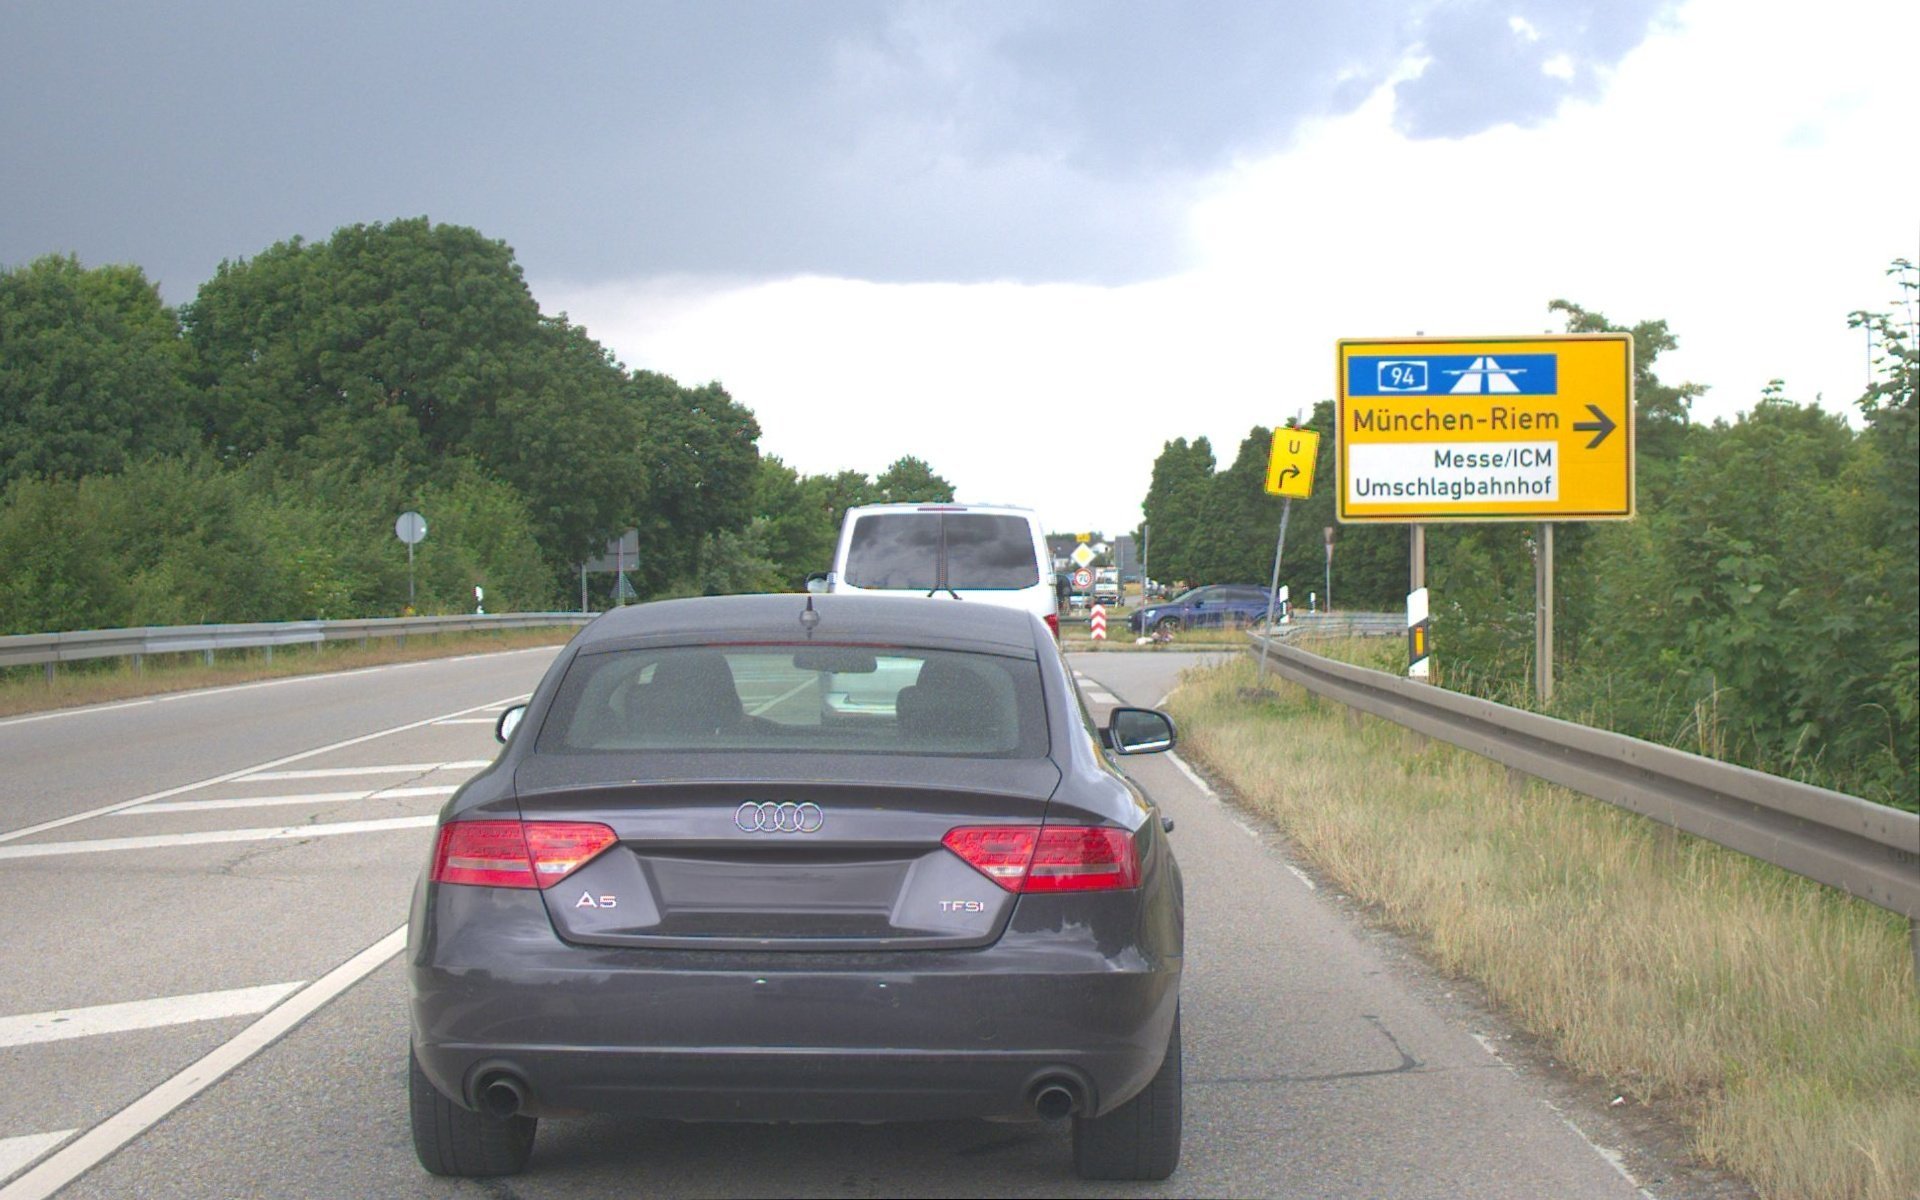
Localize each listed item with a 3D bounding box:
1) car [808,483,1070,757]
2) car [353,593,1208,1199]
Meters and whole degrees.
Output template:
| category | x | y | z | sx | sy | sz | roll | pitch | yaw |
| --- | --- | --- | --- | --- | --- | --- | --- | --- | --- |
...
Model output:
| category | x | y | z | sx | sy | sz | roll | pitch | yaw |
| --- | --- | --- | --- | --- | --- | --- | --- | --- | --- |
| car | -0.168 | 0.122 | 27.460 | 1.910 | 2.007 | 4.000 | 1 | 1 | 0 |
| car | -0.393 | 0.693 | 8.856 | 1.779 | 1.394 | 3.336 | 0 | 0 | -1 |
